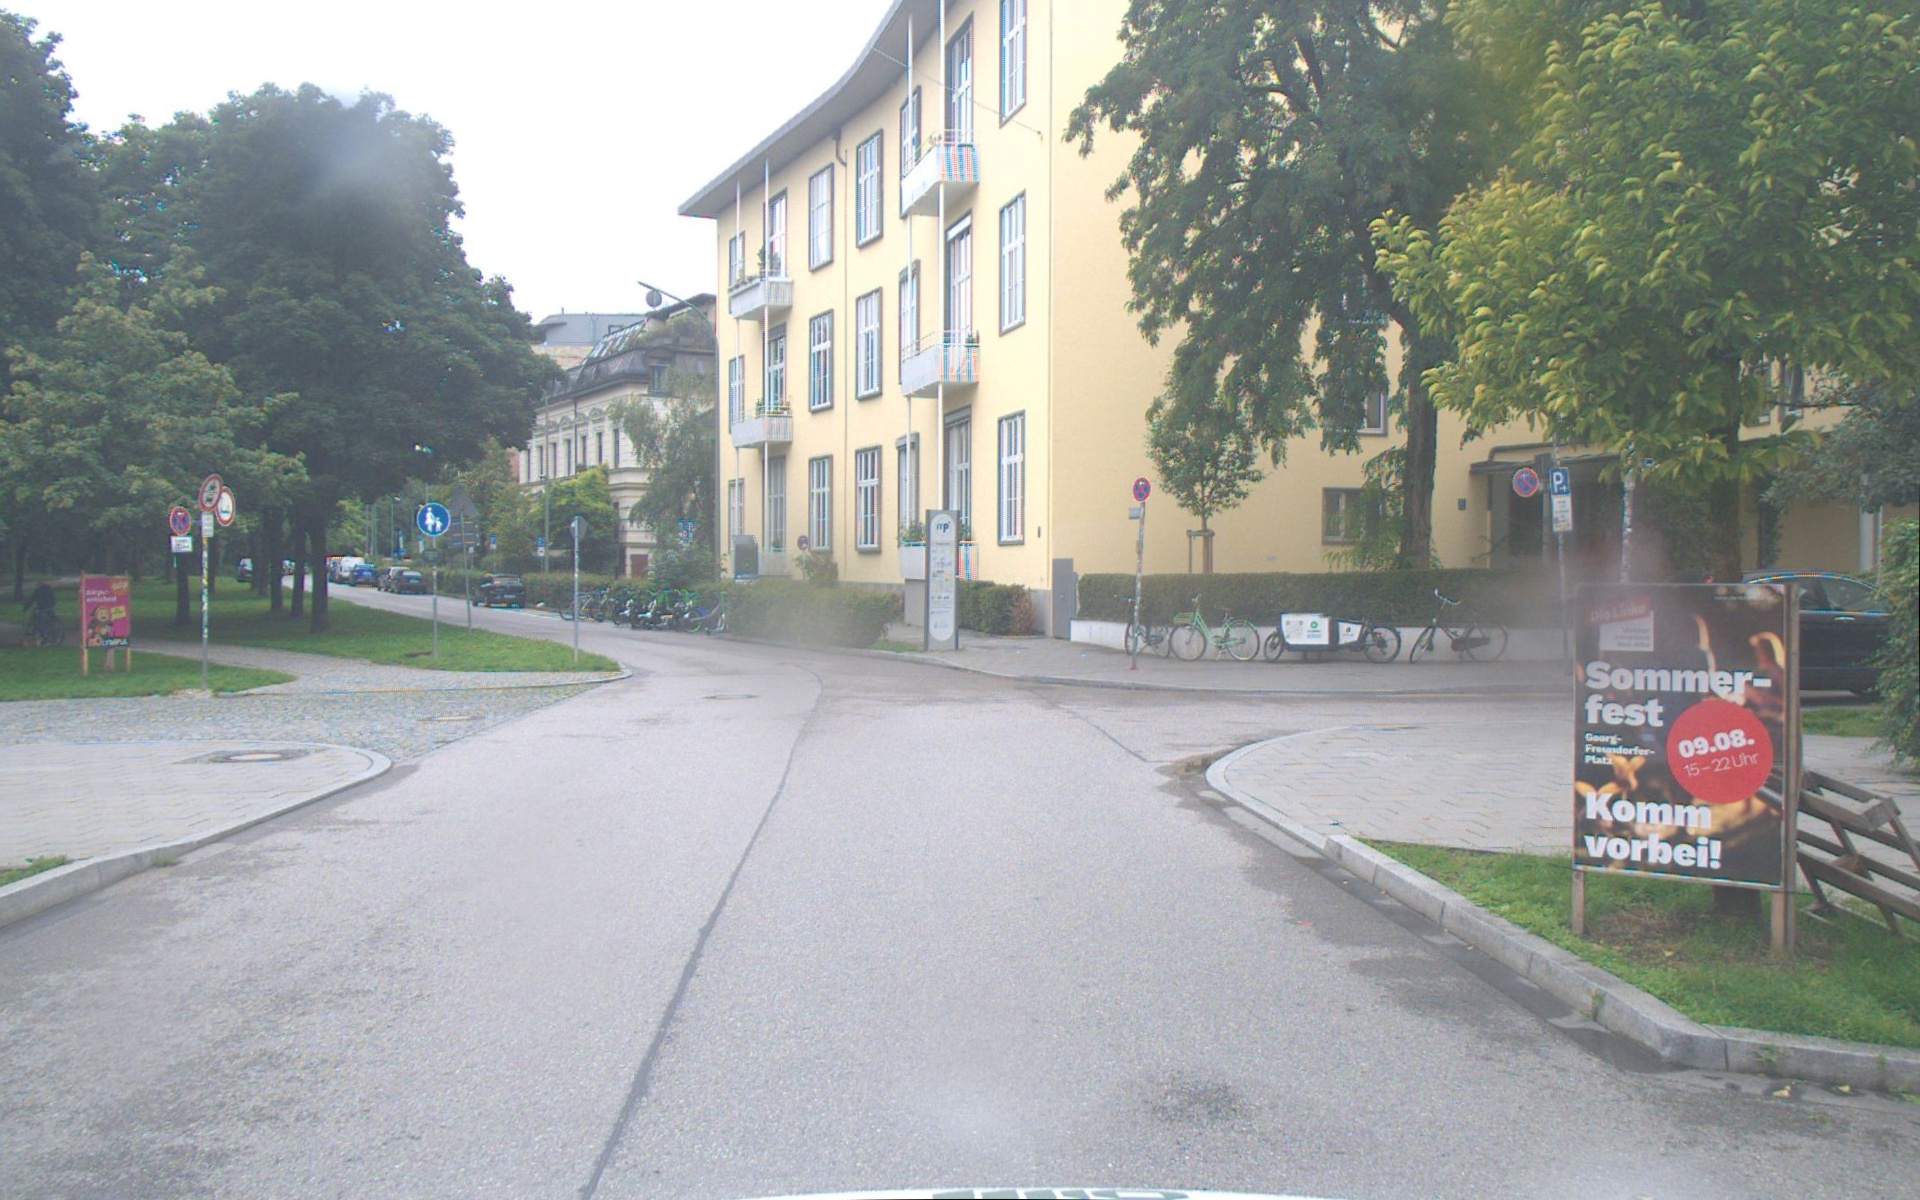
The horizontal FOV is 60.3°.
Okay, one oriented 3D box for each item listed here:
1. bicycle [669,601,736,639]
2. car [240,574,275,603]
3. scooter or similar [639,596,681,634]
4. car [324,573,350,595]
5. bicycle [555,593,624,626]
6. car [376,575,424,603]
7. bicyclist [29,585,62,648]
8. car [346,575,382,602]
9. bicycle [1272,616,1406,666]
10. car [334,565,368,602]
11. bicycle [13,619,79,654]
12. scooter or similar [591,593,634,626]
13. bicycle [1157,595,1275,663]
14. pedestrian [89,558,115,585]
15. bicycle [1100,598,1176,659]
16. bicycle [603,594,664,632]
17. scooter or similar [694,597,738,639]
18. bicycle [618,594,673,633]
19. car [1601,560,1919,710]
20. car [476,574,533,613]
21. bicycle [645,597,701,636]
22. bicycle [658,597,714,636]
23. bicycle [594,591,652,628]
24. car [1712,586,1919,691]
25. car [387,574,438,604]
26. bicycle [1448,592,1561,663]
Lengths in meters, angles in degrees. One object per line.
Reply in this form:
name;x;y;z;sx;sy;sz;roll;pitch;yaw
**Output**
bicycle;-7.348;0.562;47.215;1.803;1.023;0.572;-1;1;-29
car;-47.095;-0.764;110.899;1.969;1.870;3.966;0;1;-26
scooter or similar;-9.121;0.459;50.324;0.485;1.107;1.408;-1;1;26
car;-49.742;-1.280;132.065;1.624;1.681;4.249;0;1;-26
bicycle;-13.193;0.325;58.882;2.308;1.104;0.685;-2;1;-32
car;-34.073;-0.678;100.563;2.150;1.686;4.467;-1;1;-27
bicyclist;-21.691;0.383;39.231;0.619;1.486;0.641;0;0;-24
car;-40.778;-0.801;113.179;1.853;1.847;3.966;0;1;-27
bicycle;6.399;0.678;27.939;2.164;0.792;0.610;0;0;19
car;-44.834;-1.220;121.720;1.853;2.613;4.889;0;1;-27
bicycle;-21.664;0.857;39.214;1.338;0.789;0.437;0;0;-24
scooter or similar;-12.019;0.333;57.210;1.379;1.107;0.596;-1;1;-9
bicycle;4.506;0.488;29.217;0.605;1.136;2.183;0;1;-42
pedestrian;-62.992;-2.085;121.441;1.012;1.979;1.325;-1;1;29
bicycle;3.362;0.518;31.449;0.599;1.091;2.206;-1;1;-17
bicycle;-10.127;0.400;51.391;0.681;1.104;2.338;-1;1;23
scooter or similar;-6.770;0.487;45.926;0.485;1.128;1.408;-1;1;26
bicycle;-9.620;0.404;50.665;0.624;1.104;1.985;-1;1;23
car;10.738;0.399;21.179;4.280;1.723;2.000;-2;1;-4
car;-19.943;-0.313;72.271;1.839;1.662;4.252;0;1;-24
bicycle;-8.660;0.487;49.969;0.565;1.104;1.930;0;1;30
bicycle;-8.172;0.474;49.409;0.565;1.104;1.930;0;1;30
bicycle;-10.815;0.300;53.158;0.747;1.104;2.141;-1;1;23
car;13.391;0.539;24.355;3.895;1.461;1.605;-1;0;-1
car;-31.484;-0.657;95.048;2.150;1.686;4.467;-1;1;-27
bicycle;9.090;0.455;27.638;1.698;1.170;0.610;0;0;3
